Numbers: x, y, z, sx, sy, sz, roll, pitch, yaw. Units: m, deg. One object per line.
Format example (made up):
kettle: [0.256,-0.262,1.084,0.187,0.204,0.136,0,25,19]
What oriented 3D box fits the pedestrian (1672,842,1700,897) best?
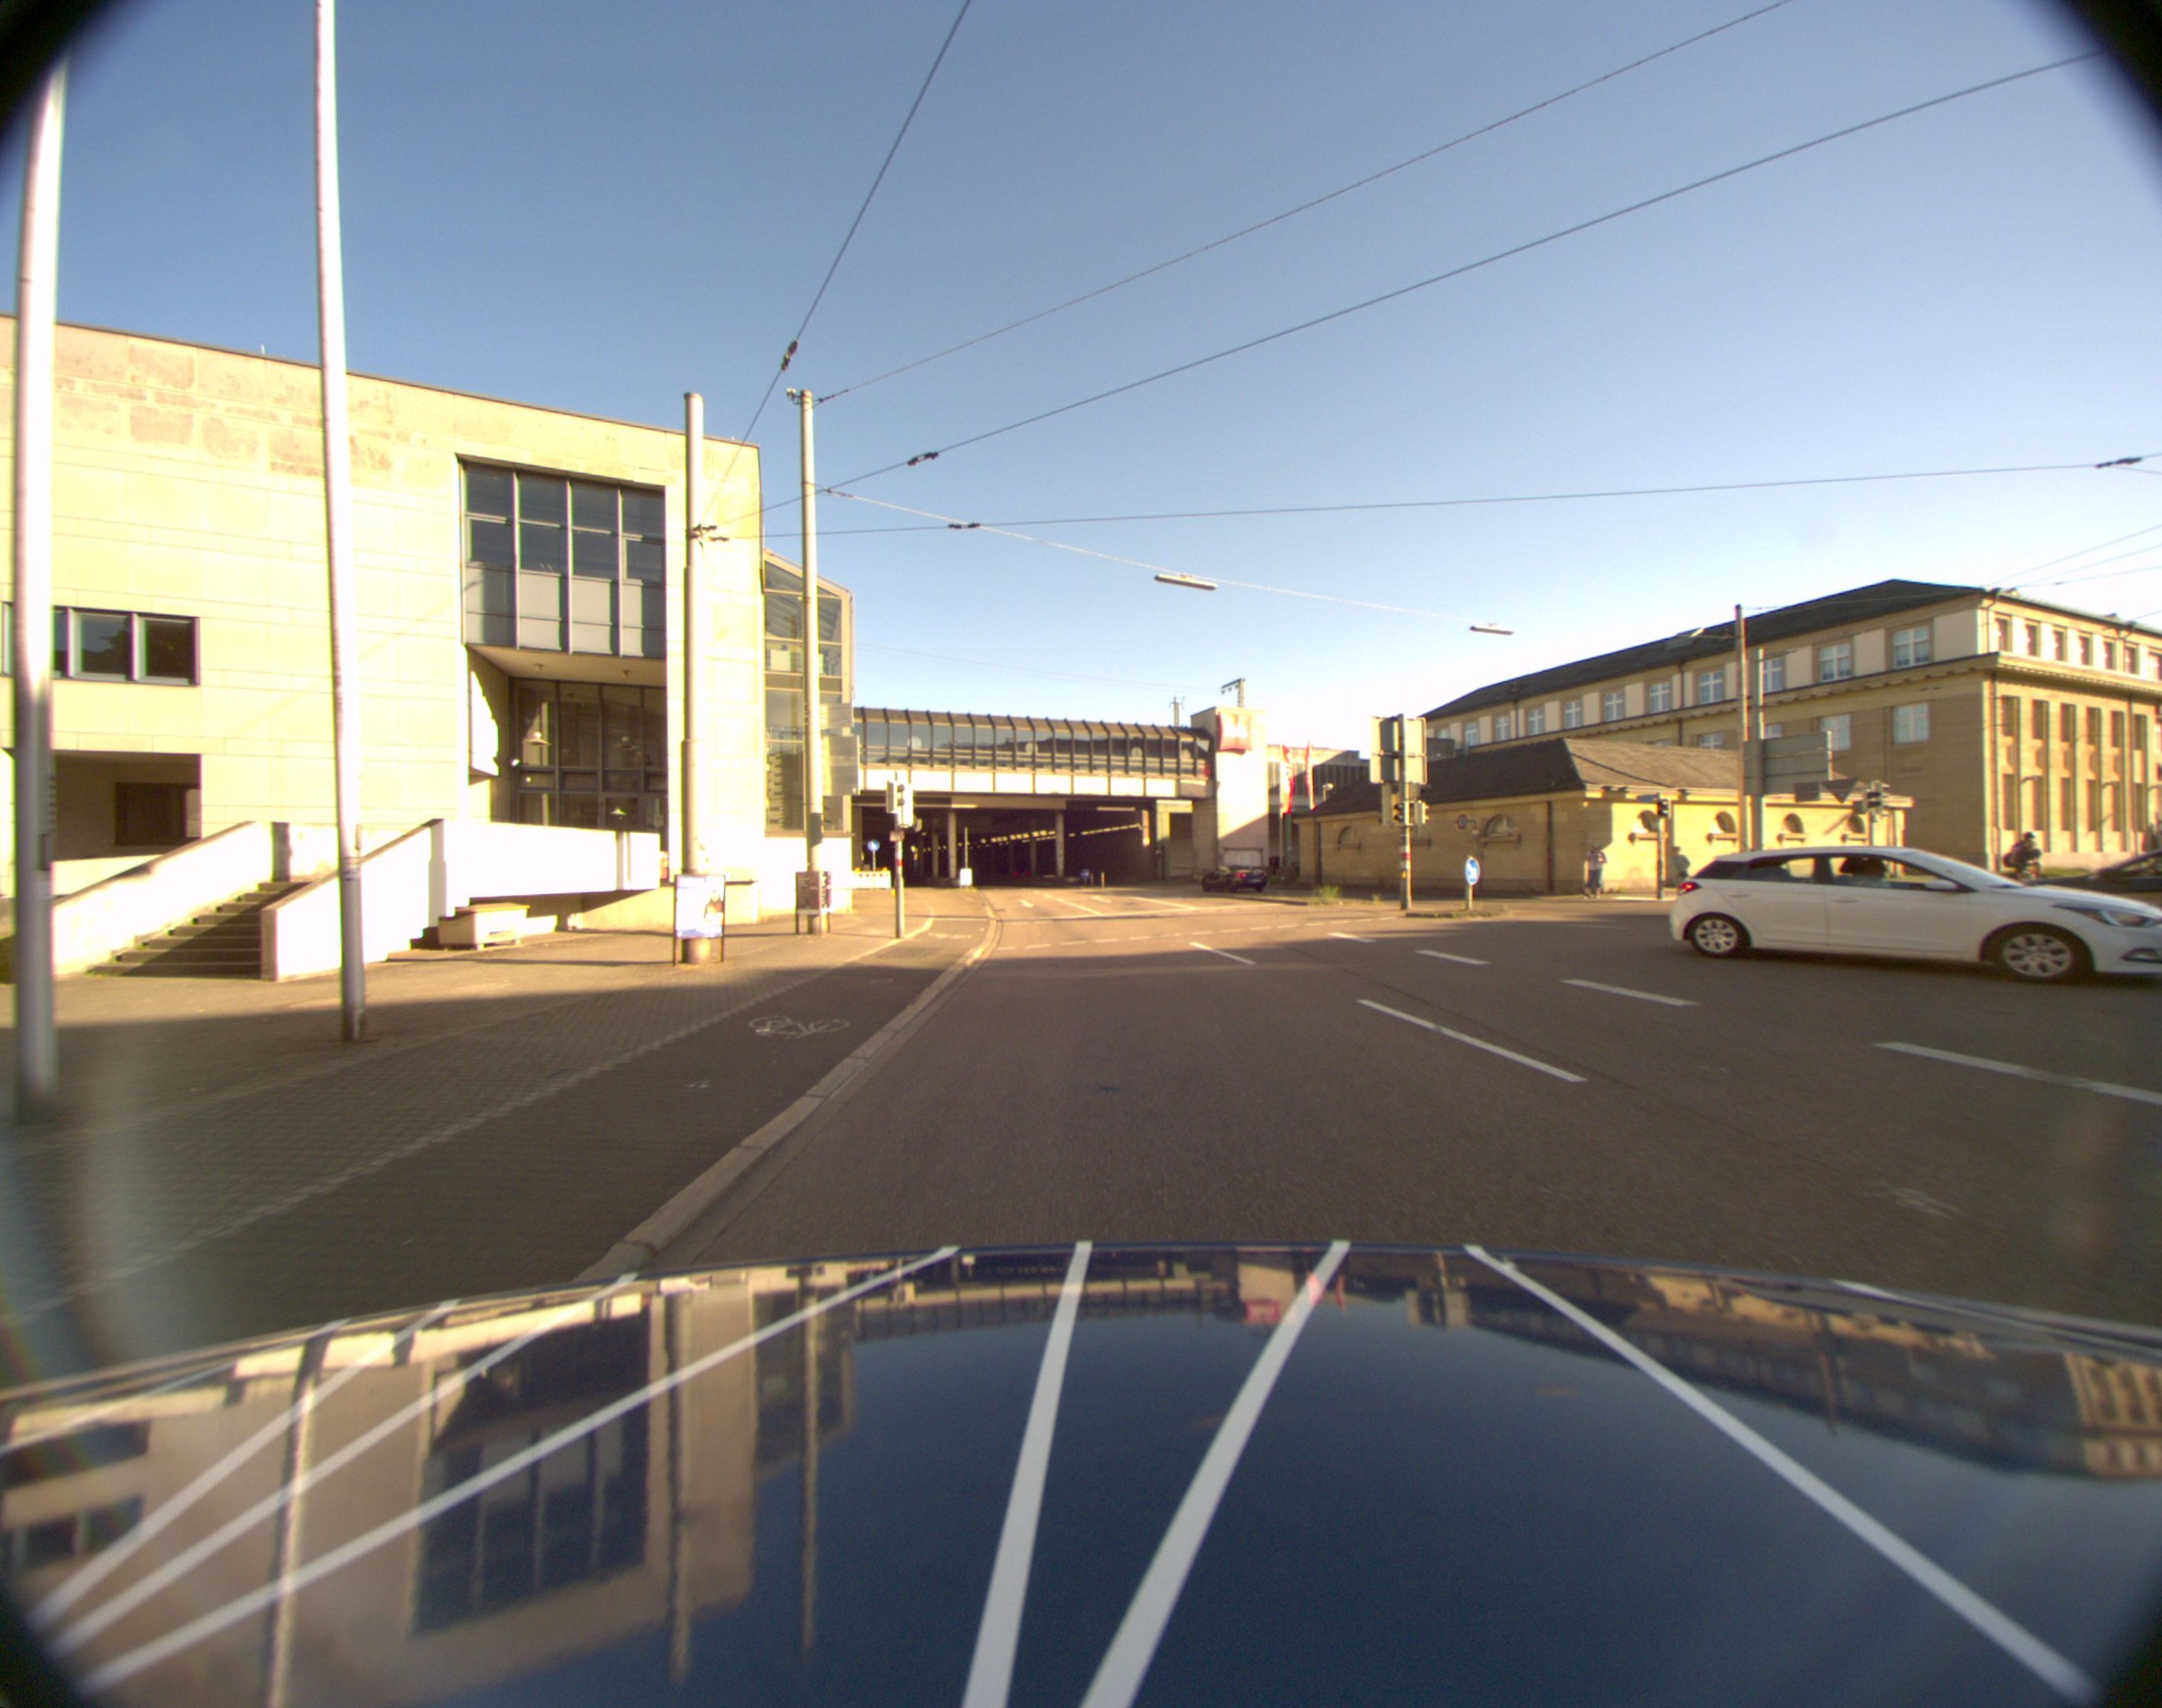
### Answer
pedestrian: [18.399,0.466,23.112,0.624,1.630,0.490,-1,0,42]

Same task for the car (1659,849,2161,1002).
car: [9.689,0.677,9.034,1.795,1.385,4.096,-1,0,-31]

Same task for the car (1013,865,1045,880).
car: [-5.005,1.739,72.419,1.818,1.382,4.240,-1,-1,-21]

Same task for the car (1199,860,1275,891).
car: [7.666,1.042,37.716,1.831,1.417,4.321,-1,0,-17]

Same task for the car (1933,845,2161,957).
car: [14.502,0.579,9.681,1.999,1.384,4.560,-1,0,-5]

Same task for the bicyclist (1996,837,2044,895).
bicyclist: [27.289,0.346,22.082,0.941,1.630,0.676,-2,0,-26]

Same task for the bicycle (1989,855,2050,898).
bicycle: [27.243,0.635,22.057,2.076,1.129,0.684,-2,1,-27]

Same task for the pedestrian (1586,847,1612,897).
pedestrian: [17.038,0.583,25.013,0.624,1.630,0.516,-1,0,42]
